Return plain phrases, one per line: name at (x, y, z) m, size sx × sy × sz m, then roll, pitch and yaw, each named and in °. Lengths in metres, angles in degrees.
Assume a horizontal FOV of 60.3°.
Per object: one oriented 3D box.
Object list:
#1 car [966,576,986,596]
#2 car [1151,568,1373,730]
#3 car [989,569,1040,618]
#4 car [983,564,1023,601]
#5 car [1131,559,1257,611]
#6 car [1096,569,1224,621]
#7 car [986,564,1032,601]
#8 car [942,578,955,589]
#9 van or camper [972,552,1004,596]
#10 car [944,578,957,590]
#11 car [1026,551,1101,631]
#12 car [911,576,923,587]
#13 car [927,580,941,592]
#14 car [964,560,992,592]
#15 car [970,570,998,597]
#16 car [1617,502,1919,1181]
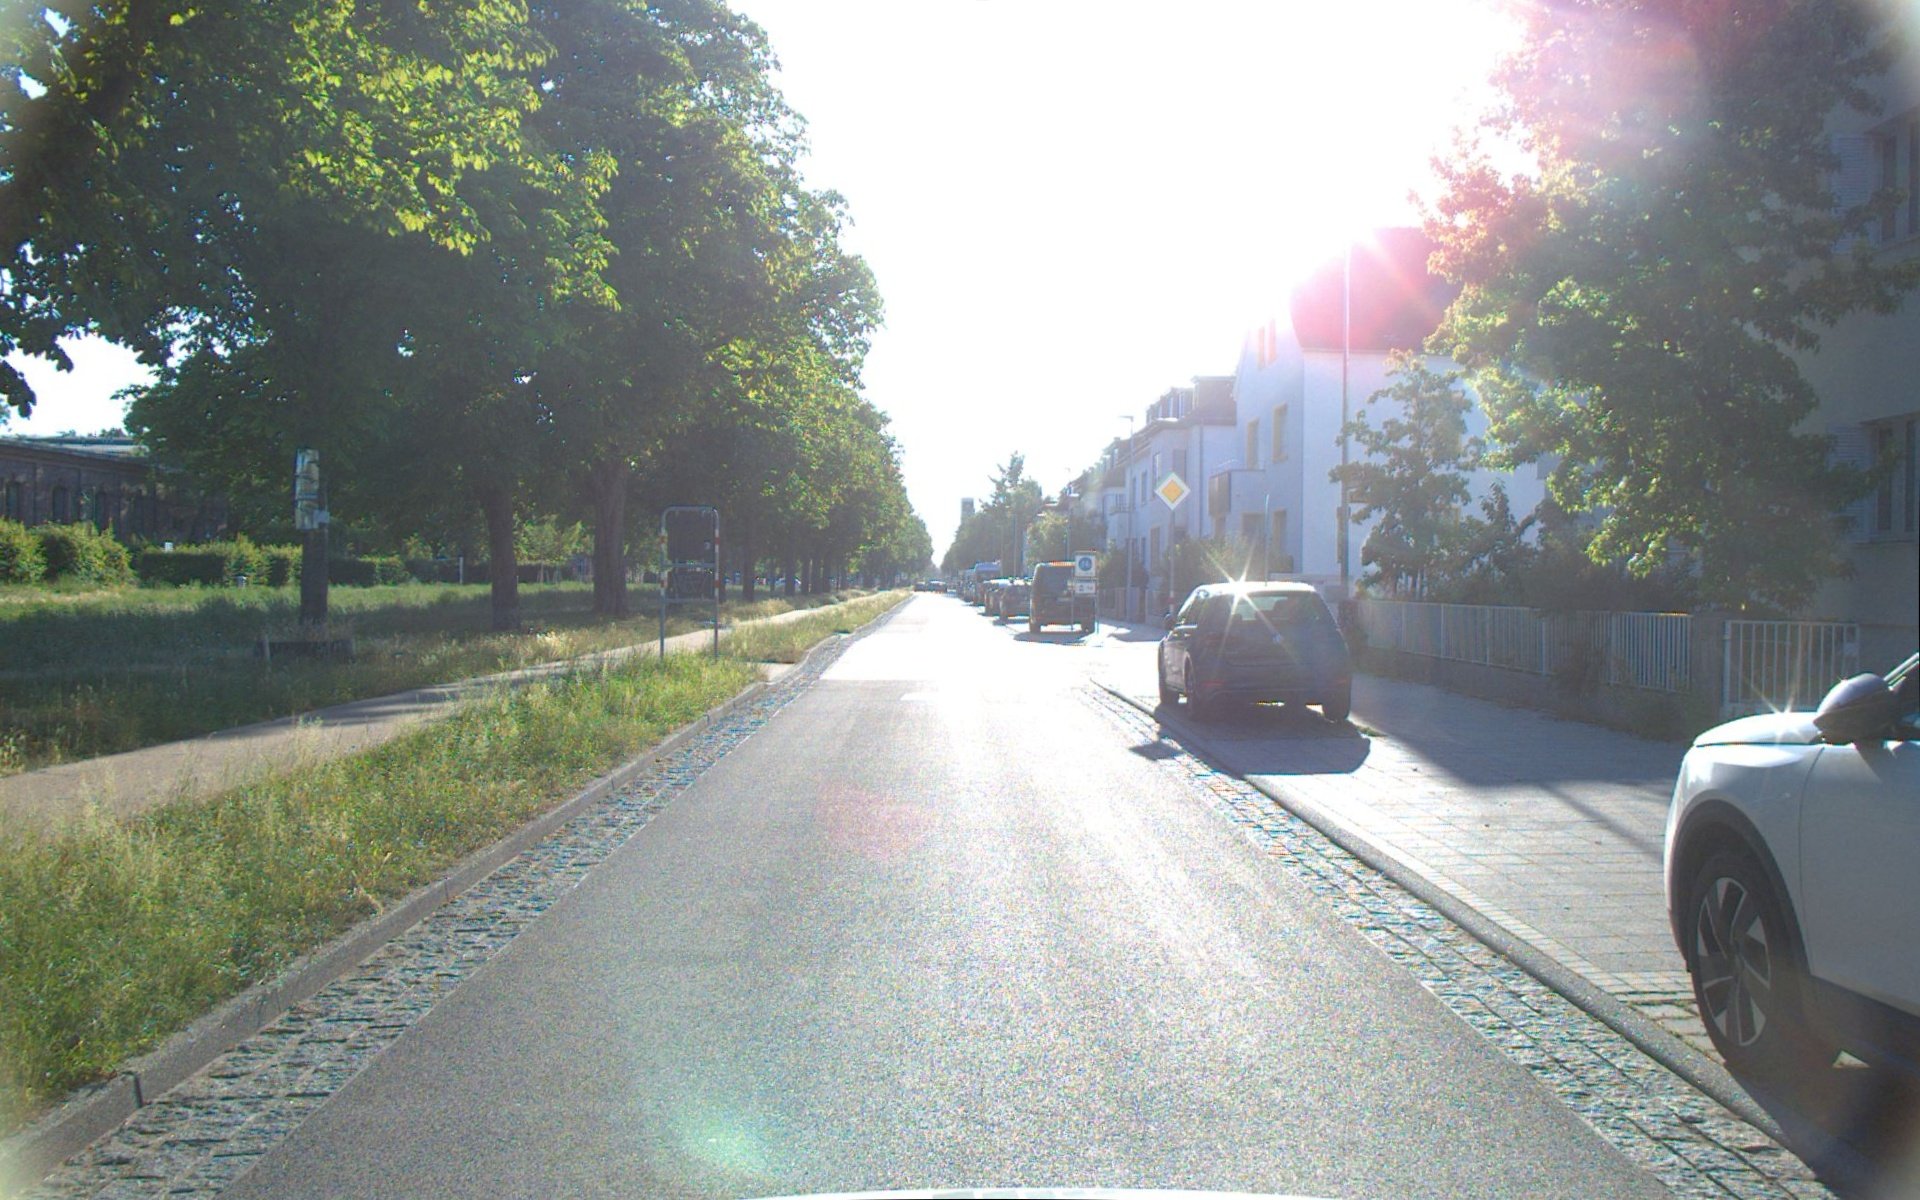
car at (1.301, -1.117, 134.631) m, size 1.616 × 1.557 × 3.851 m, roll -1°, pitch 1°, yaw 0°
car at (3.329, 0.462, 18.980) m, size 1.757 × 1.508 × 4.124 m, roll -2°, pitch 2°, yaw 0°
car at (2.110, -0.298, 65.316) m, size 1.757 × 1.802 × 4.472 m, roll -2°, pitch 1°, yaw -1°
car at (2.159, -0.899, 83.251) m, size 1.795 × 1.714 × 4.415 m, roll 2°, pitch 1°, yaw -1°
car at (8.297, -0.534, 58.832) m, size 4.134 × 1.756 × 1.852 m, roll -1°, pitch 0°, yaw -4°
car at (6.880, -0.184, 57.065) m, size 4.134 × 1.756 × 1.852 m, roll 0°, pitch 0°, yaw -4°
car at (2.245, -0.807, 77.392) m, size 1.684 × 1.601 × 4.207 m, roll -2°, pitch 1°, yaw -4°
car at (-1.671, -2.497, 247.118) m, size 1.825 × 1.624 × 3.893 m, roll 0°, pitch 2°, yaw -2°
van or camper at (1.830, -1.674, 110.478) m, size 1.904 × 2.826 × 5.939 m, roll 1°, pitch 0°, yaw -1°
car at (-1.338, -2.153, 228.476) m, size 1.616 × 1.557 × 3.851 m, roll 3°, pitch 1°, yaw 0°
car at (3.021, -0.306, 48.948) m, size 1.867 × 2.169 × 4.814 m, roll -2°, pitch 1°, yaw 0°
car at (-6.591, -2.845, 251.494) m, size 1.616 × 1.557 × 3.851 m, roll 3°, pitch 1°, yaw 0°
car at (-3.740, -1.986, 236.791) m, size 1.825 × 1.625 × 3.869 m, roll 1°, pitch 0°, yaw -2°
car at (1.498, -2.048, 140.948) m, size 2.084 × 2.577 × 5.186 m, roll -1°, pitch 1°, yaw -3°
car at (1.486, -1.044, 104.134) m, size 1.630 × 1.620 × 4.085 m, roll 1°, pitch 1°, yaw -1°
car at (3.357, 0.598, 3.837) m, size 1.866 × 1.738 × 4.576 m, roll -2°, pitch 1°, yaw 1°
